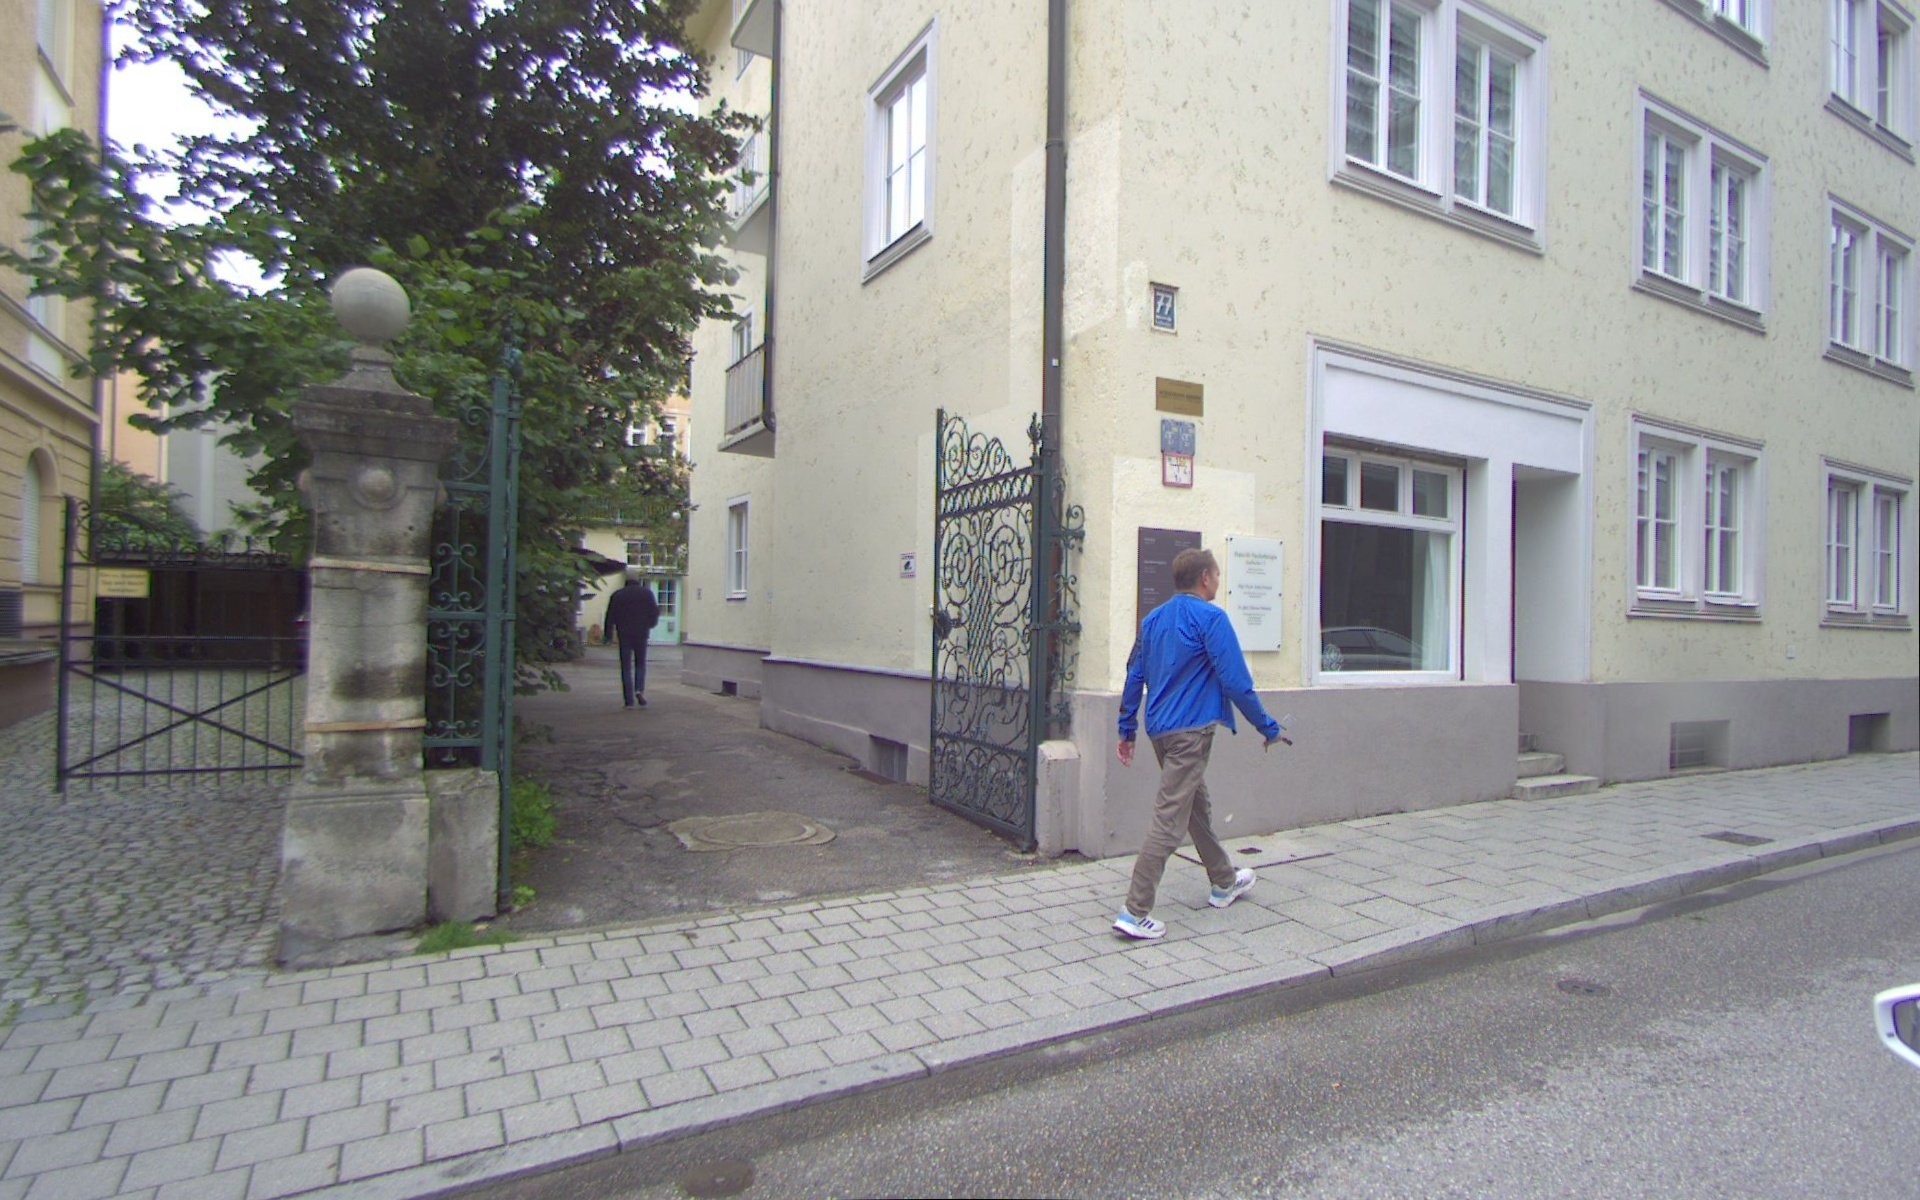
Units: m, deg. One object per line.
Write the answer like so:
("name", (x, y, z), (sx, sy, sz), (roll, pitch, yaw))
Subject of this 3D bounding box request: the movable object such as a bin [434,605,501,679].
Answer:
("movable object such as a bin", (-9.919, 0.837, 20.281), (1.091, 1.422, 1.221), (1, -1, -22))

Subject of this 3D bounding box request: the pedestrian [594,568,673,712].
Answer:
("pedestrian", (-4.415, 0.531, 13.542), (0.895, 1.851, 0.951), (1, -1, -23))

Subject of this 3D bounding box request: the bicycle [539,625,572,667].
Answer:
("bicycle", (-10.008, 1.117, 24.895), (0.688, 0.985, 1.880), (1, -1, -20))

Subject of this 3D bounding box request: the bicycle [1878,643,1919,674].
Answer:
("bicycle", (35.054, 2.158, 37.045), (0.590, 1.083, 1.651), (2, 0, -25))

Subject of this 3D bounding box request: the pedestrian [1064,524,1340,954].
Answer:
("pedestrian", (1.191, 0.619, 4.983), (1.064, 1.879, 0.753), (2, 0, -30))
